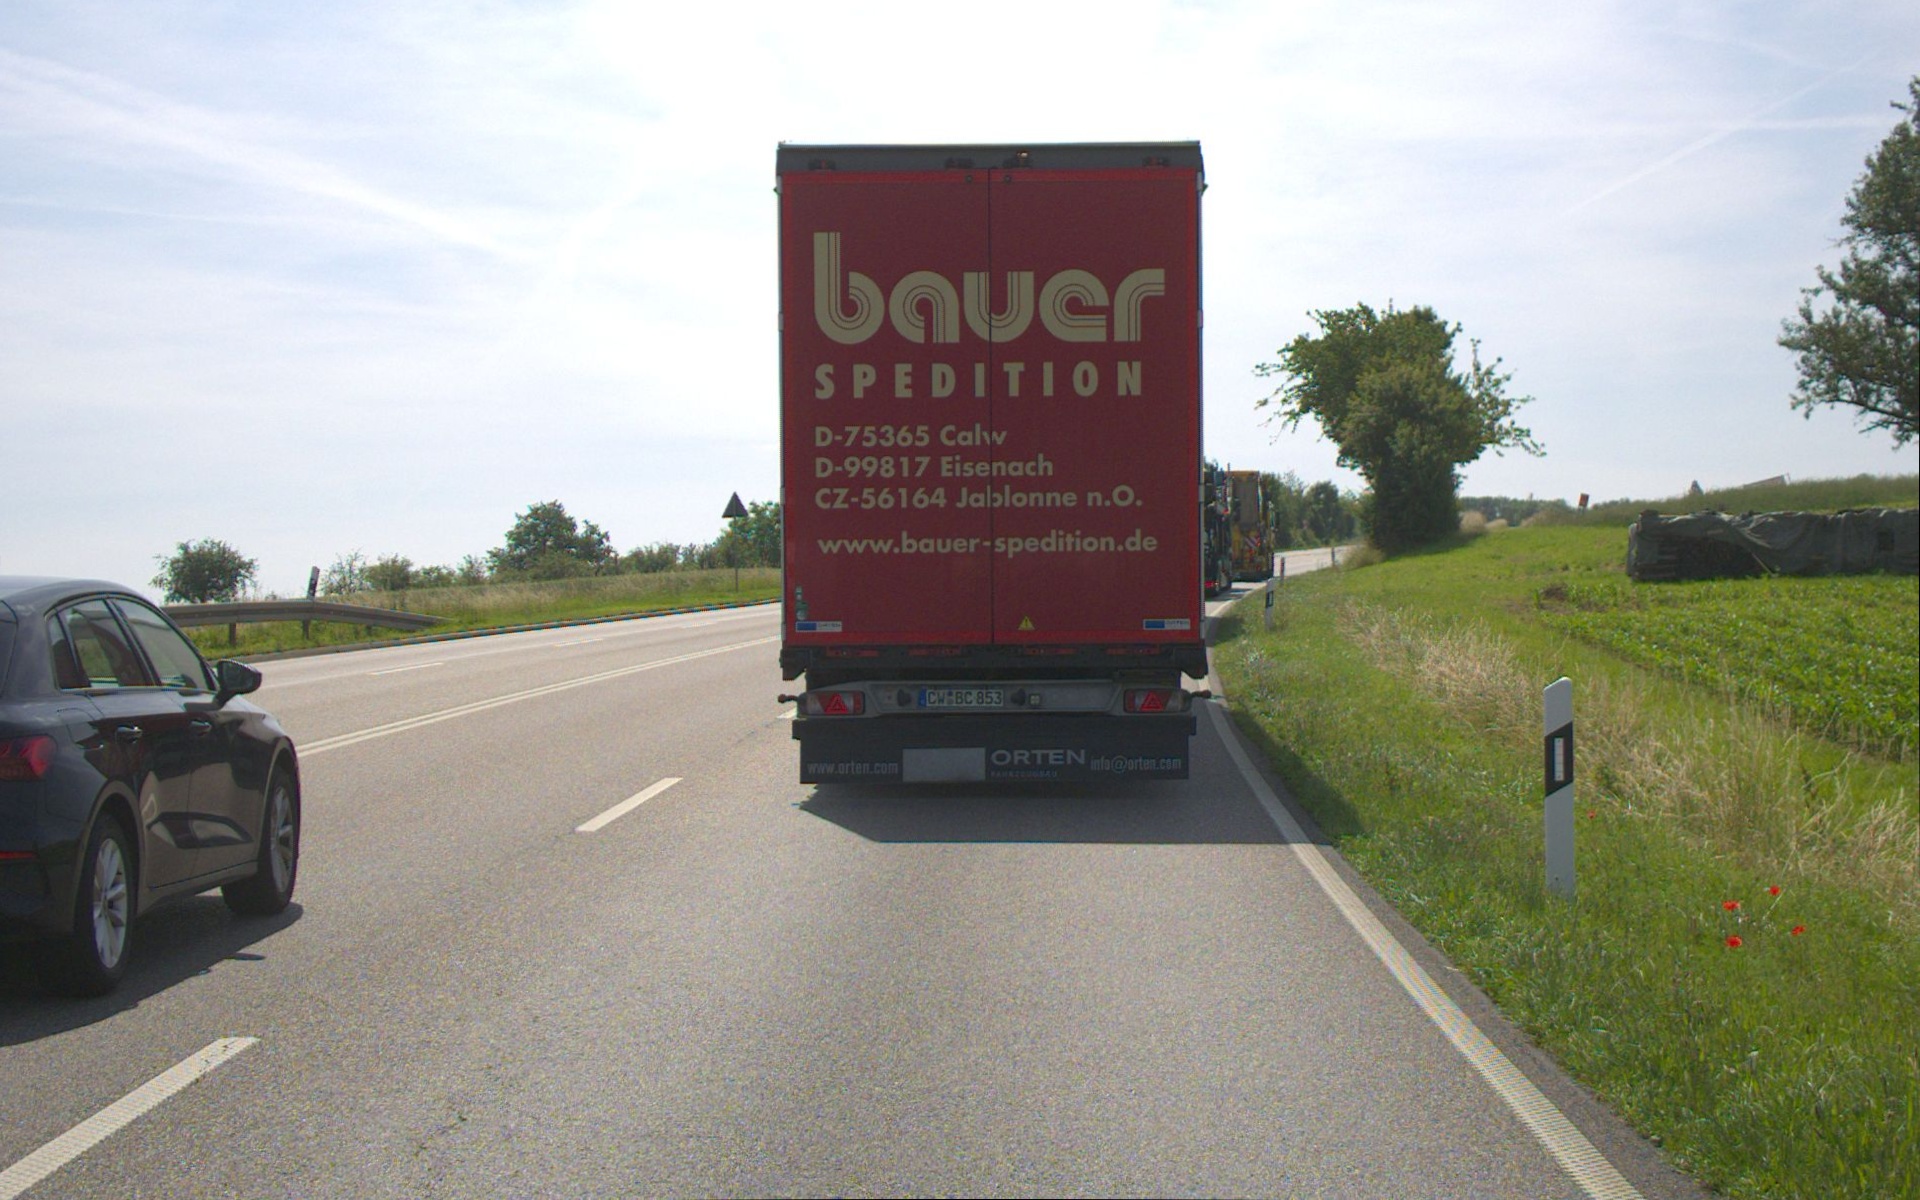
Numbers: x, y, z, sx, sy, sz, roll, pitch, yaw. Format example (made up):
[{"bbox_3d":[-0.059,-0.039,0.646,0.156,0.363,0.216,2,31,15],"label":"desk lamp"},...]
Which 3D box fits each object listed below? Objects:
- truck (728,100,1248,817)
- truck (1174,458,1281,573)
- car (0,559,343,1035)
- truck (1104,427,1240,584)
[{"bbox_3d":[0.458,-0.961,28.401,3.007,4.165,16.713,0,1,2],"label":"truck"},{"bbox_3d":[10.082,-3.081,127.749,3.048,3.897,18.393,-1,1,7],"label":"truck"},{"bbox_3d":[-3.687,0.589,13.149,1.705,1.467,4.811,0,1,1],"label":"car"},{"bbox_3d":[5.966,-2.525,94.245,3.047,3.897,15.612,-1,1,6],"label":"truck"}]
